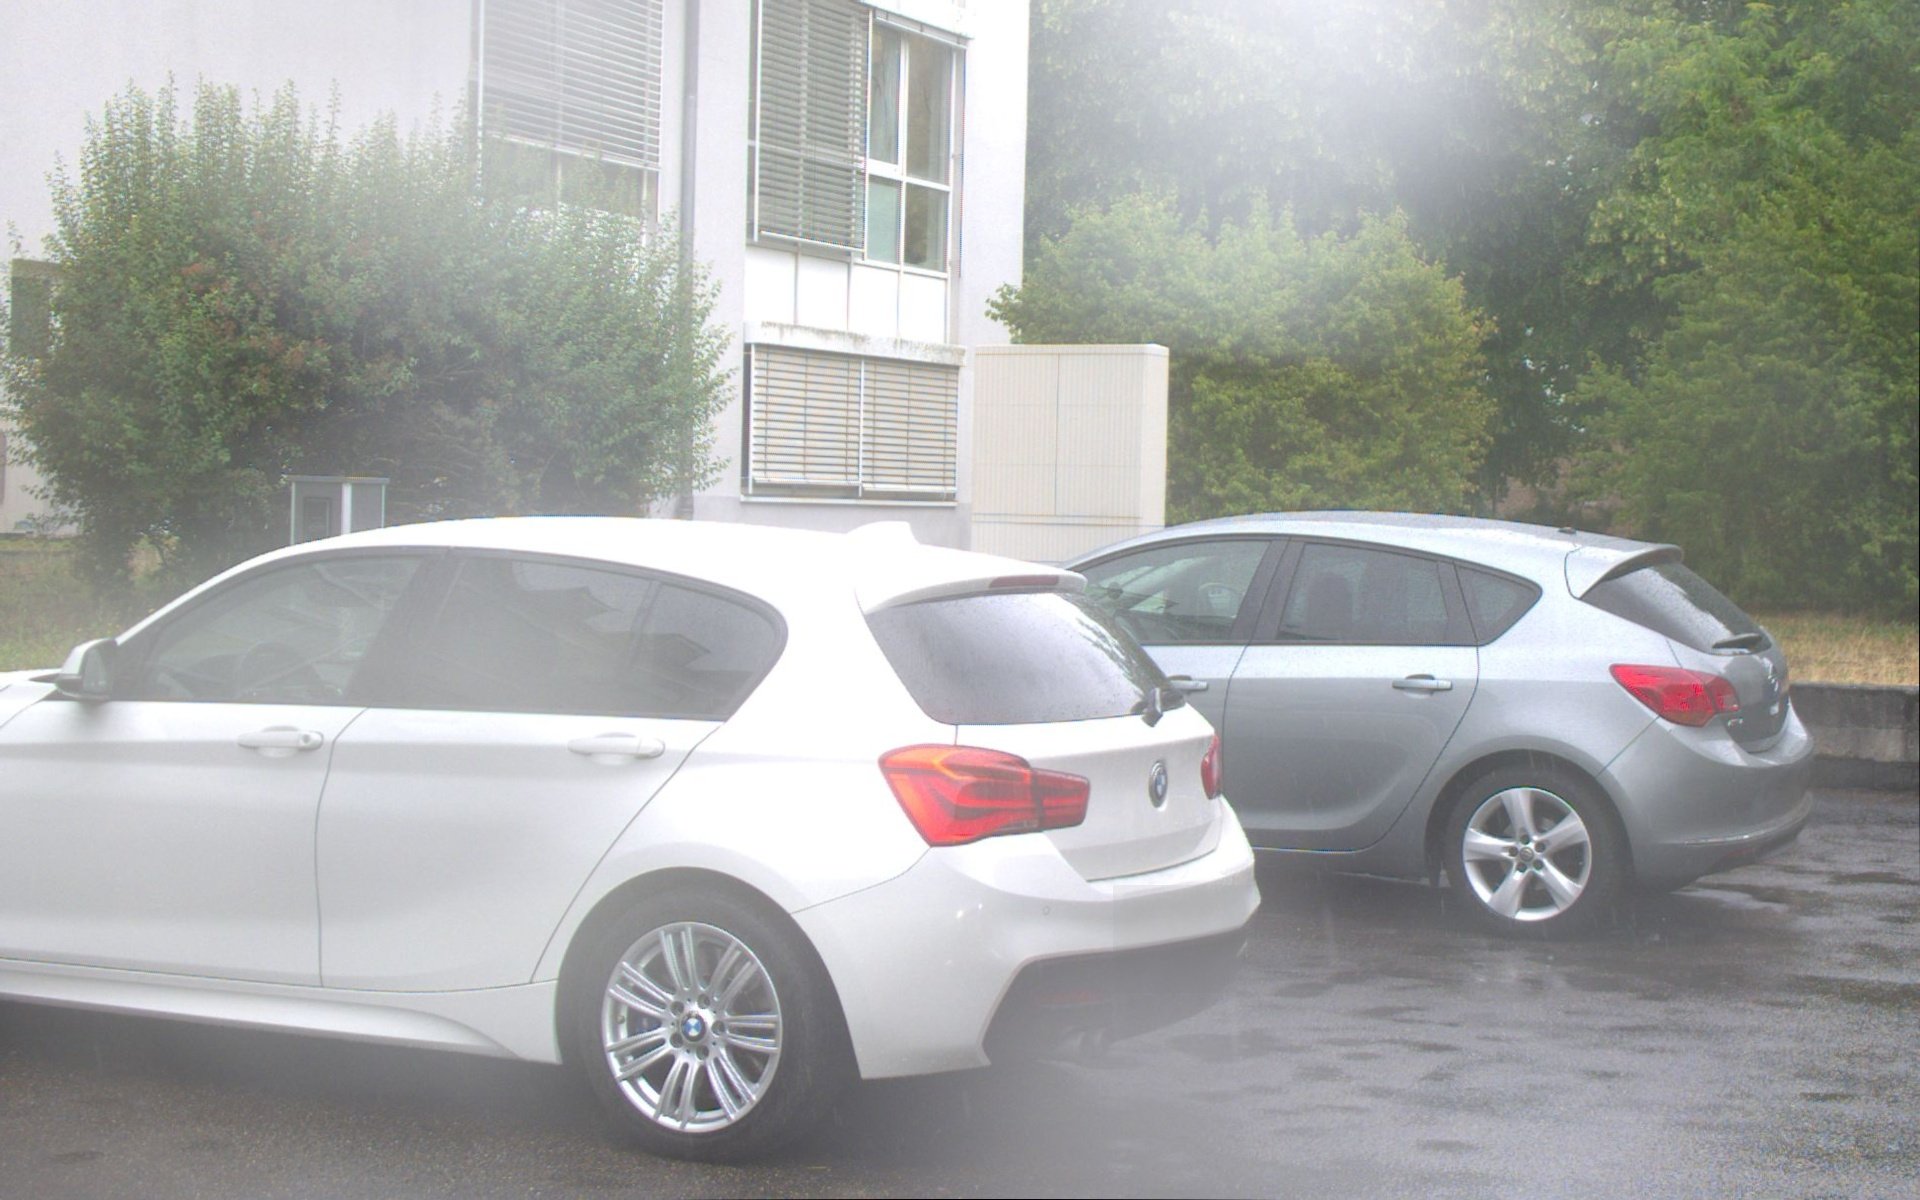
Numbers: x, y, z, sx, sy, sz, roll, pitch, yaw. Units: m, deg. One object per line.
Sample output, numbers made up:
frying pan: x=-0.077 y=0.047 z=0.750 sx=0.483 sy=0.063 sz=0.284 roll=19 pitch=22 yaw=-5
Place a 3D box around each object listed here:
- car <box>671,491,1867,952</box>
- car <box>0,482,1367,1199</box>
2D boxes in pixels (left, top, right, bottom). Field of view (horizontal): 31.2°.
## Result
car: x=1.208 y=0.381 z=13.516 sx=4.213 sy=1.484 sz=1.997 roll=2 pitch=1 yaw=26
car: x=-1.281 y=0.469 z=9.035 sx=4.213 sy=1.484 sz=1.997 roll=2 pitch=1 yaw=26
